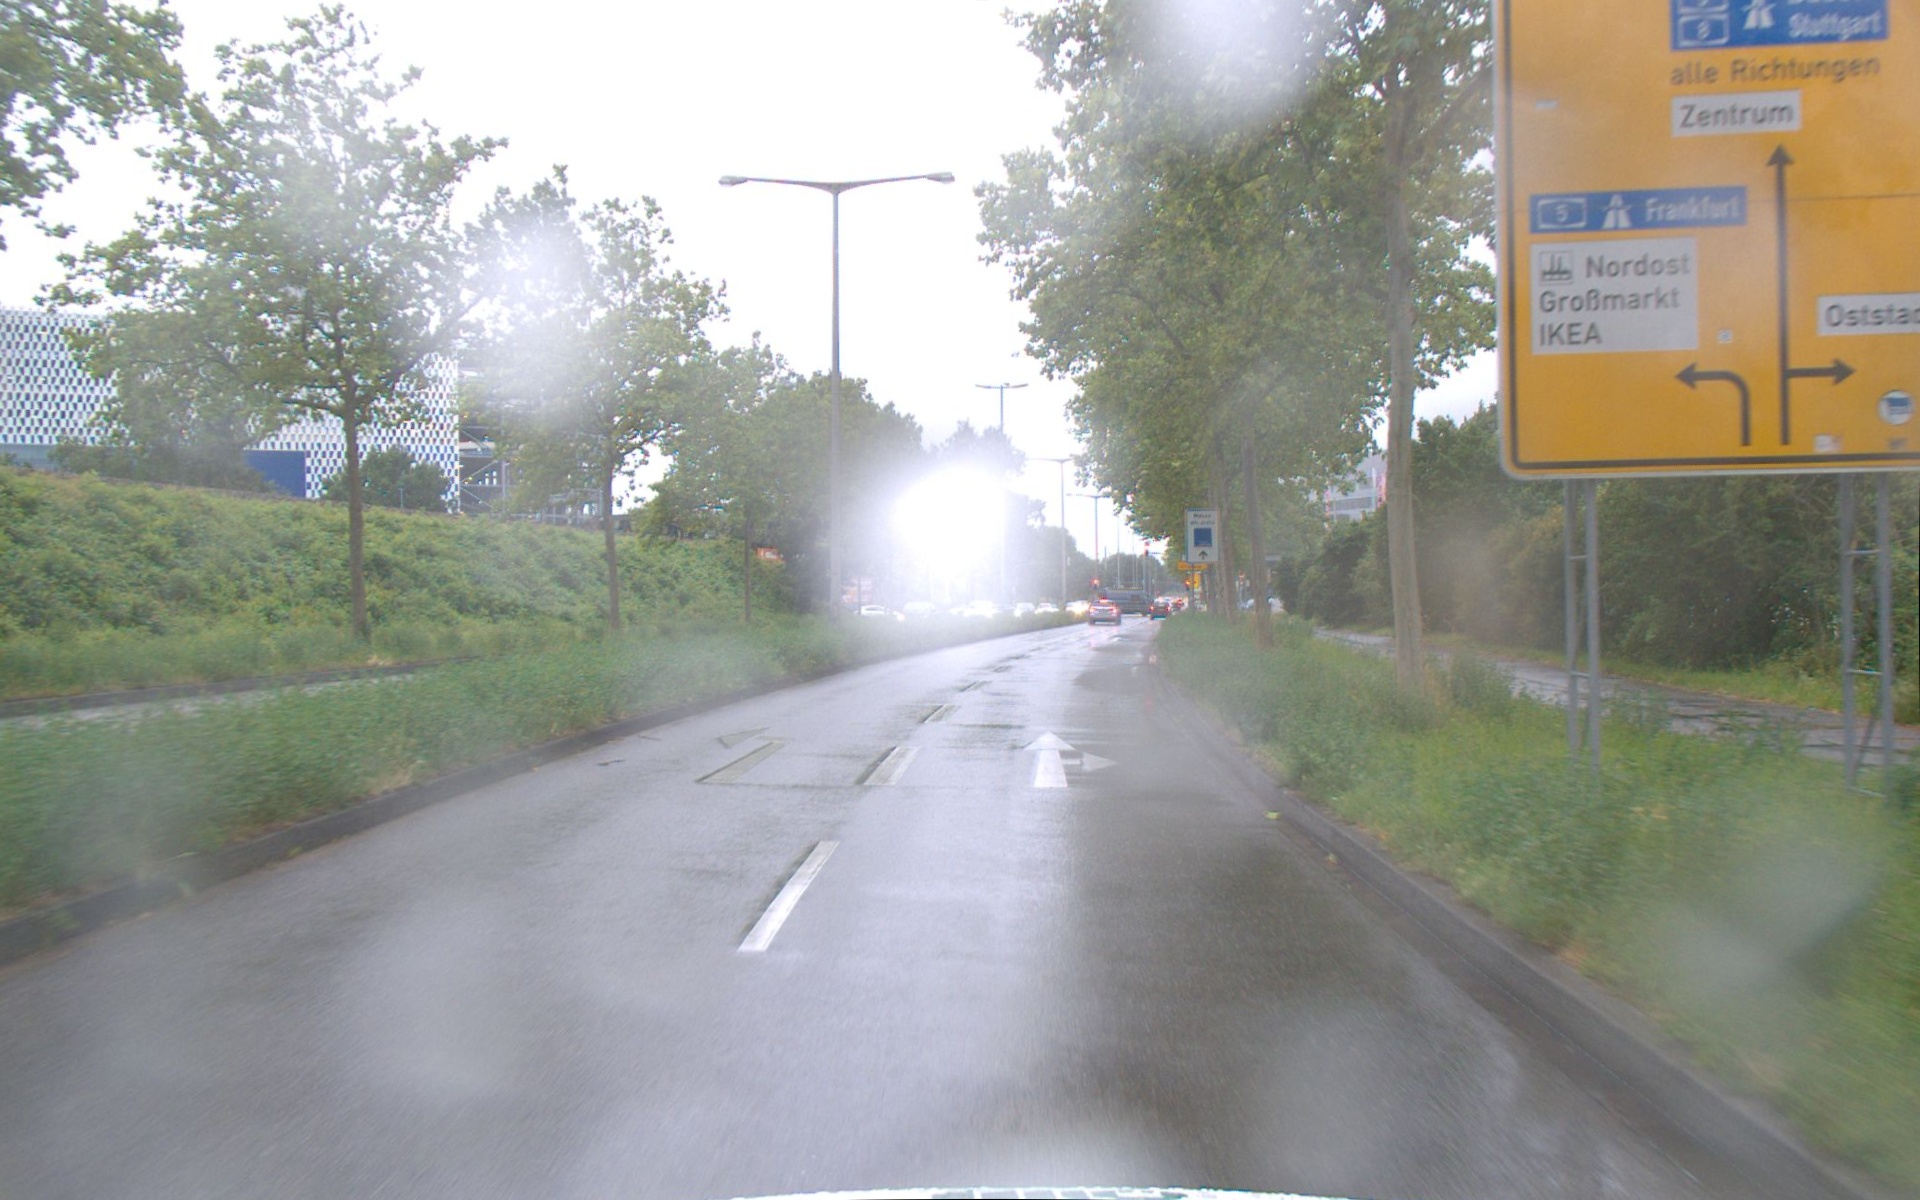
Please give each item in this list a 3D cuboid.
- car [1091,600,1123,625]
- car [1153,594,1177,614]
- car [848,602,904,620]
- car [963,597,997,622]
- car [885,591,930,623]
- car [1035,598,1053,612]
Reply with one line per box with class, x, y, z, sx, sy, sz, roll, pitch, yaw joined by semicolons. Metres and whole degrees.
car;8.844;0.770;99.187;1.654;1.458;4.578;0;0;8
car;16.526;0.355;133.298;1.758;1.564;4.390;1;0;8
car;-7.061;0.883;138.934;4.557;1.470;1.933;0;0;-10
car;1.298;0.610;105.727;1.666;1.521;4.208;0;0;7
car;-2.491;0.318;79.195;1.596;1.451;4.003;0;0;7
car;9.239;0.527;181.714;1.676;1.557;4.003;-1;0;8
